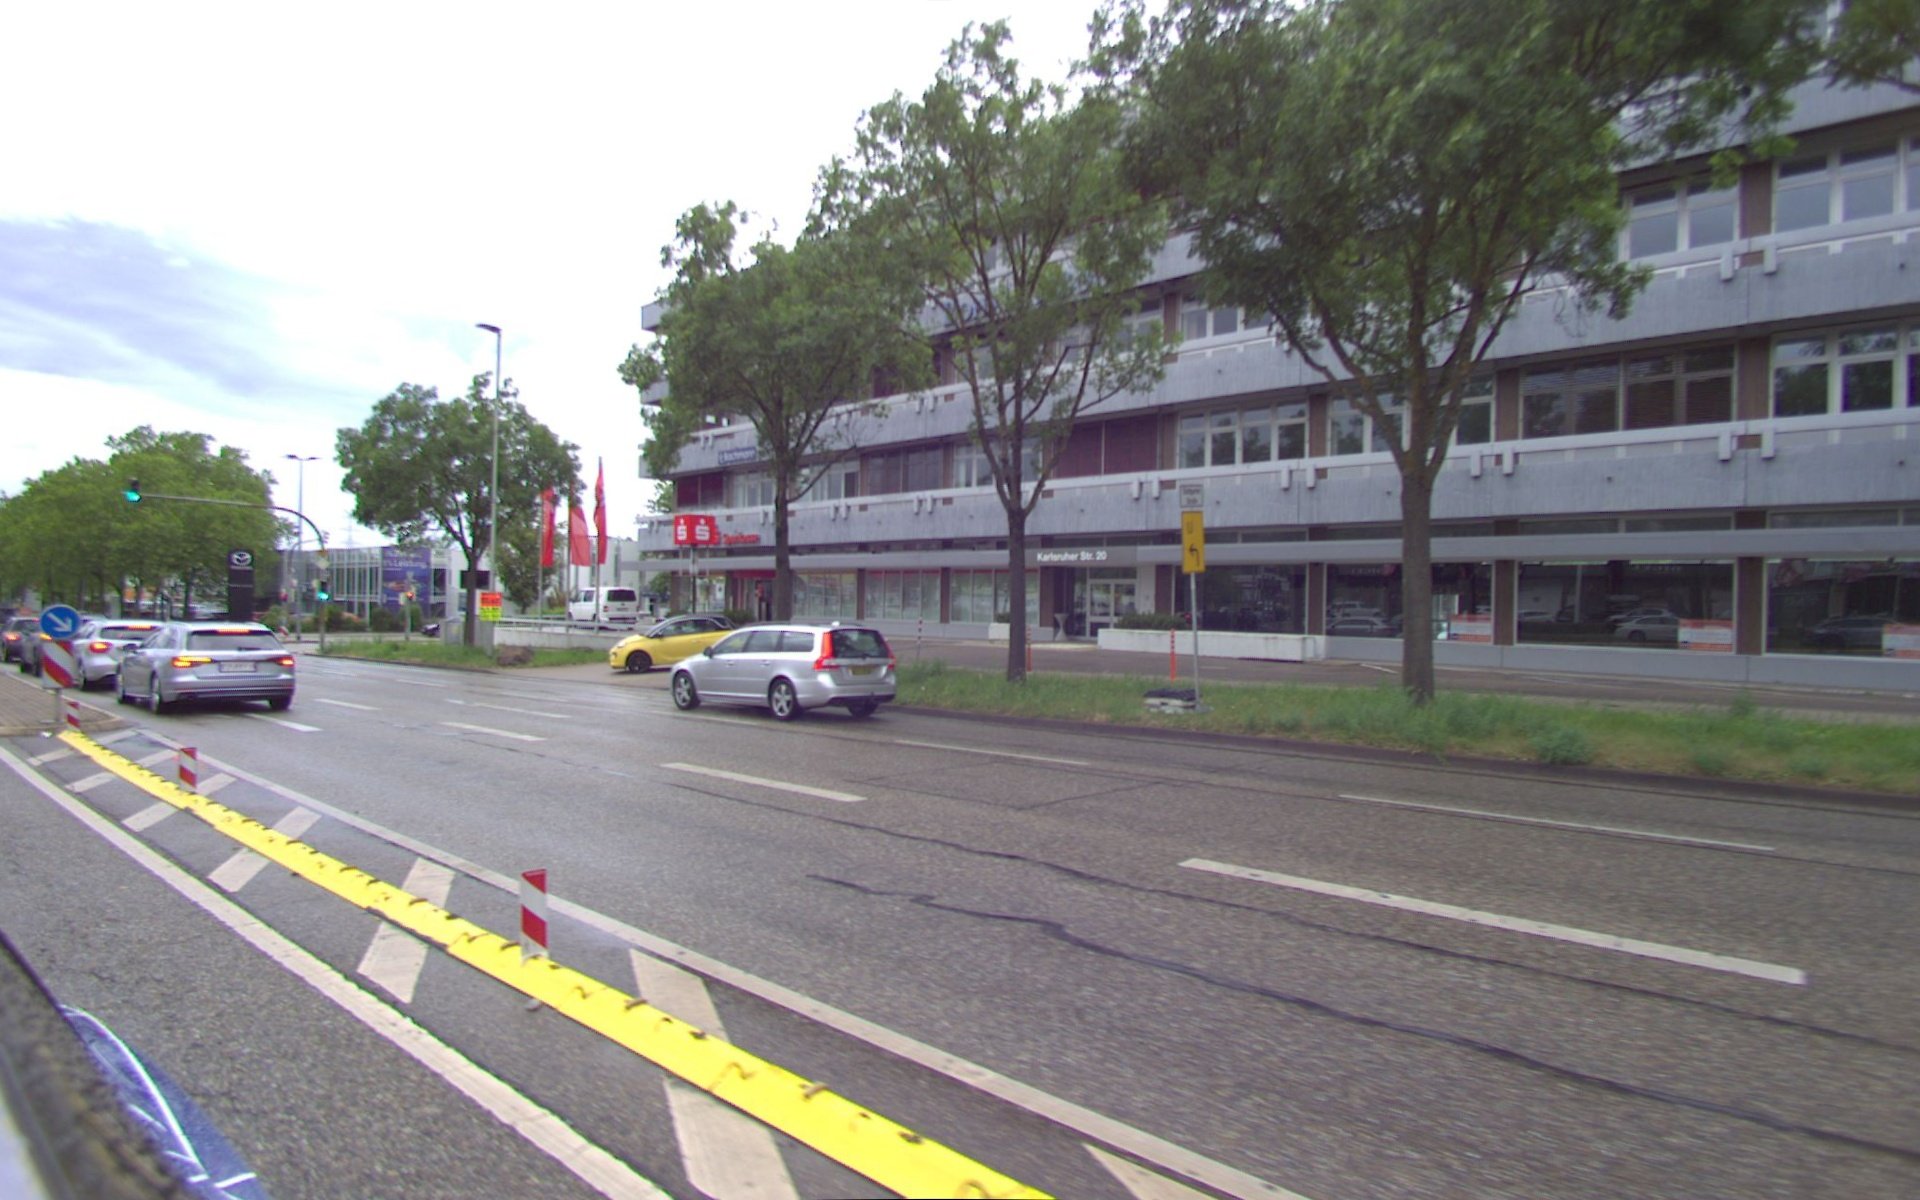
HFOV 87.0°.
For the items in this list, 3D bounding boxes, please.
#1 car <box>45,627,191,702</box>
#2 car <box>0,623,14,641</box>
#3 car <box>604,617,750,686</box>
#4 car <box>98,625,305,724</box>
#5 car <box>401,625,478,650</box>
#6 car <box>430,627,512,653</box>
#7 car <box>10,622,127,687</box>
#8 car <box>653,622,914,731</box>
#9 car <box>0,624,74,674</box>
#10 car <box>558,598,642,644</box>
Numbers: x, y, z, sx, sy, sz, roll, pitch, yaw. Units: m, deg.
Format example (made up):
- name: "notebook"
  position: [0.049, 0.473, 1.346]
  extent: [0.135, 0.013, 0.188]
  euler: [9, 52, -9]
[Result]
- name: "car"
  position: [-17.777, 1.294, 21.314]
  extent: [3.998, 1.417, 1.722]
  euler: [-1, -3, 41]
- name: "car"
  position: [-89.239, 2.965, 93.881]
  extent: [3.998, 1.587, 1.731]
  euler: [-1, -3, 41]
- name: "car"
  position: [-7.597, 1.359, 27.420]
  extent: [3.650, 1.520, 1.626]
  euler: [-3, 2, -12]
- name: "car"
  position: [-12.585, 1.136, 16.680]
  extent: [4.614, 1.417, 1.765]
  euler: [-1, -3, 41]
- name: "car"
  position: [-36.844, 2.646, 71.723]
  extent: [4.456, 1.670, 1.956]
  euler: [2, -3, -44]
- name: "car"
  position: [-31.837, 2.594, 65.933]
  extent: [4.456, 1.670, 1.956]
  euler: [2, -3, -44]
- name: "car"
  position: [-22.823, 1.351, 25.862]
  extent: [3.998, 1.536, 1.731]
  euler: [-1, -3, 41]
- name: "car"
  position: [-3.064, 1.188, 16.844]
  extent: [4.781, 1.565, 1.722]
  euler: [-1, -4, 43]
- name: "car"
  position: [-30.188, 1.541, 32.769]
  extent: [3.998, 1.522, 1.731]
  euler: [-1, -3, 41]
- name: "car"
  position: [-17.374, 0.979, 48.709]
  extent: [1.970, 2.029, 4.890]
  euler: [-2, 1, -43]
